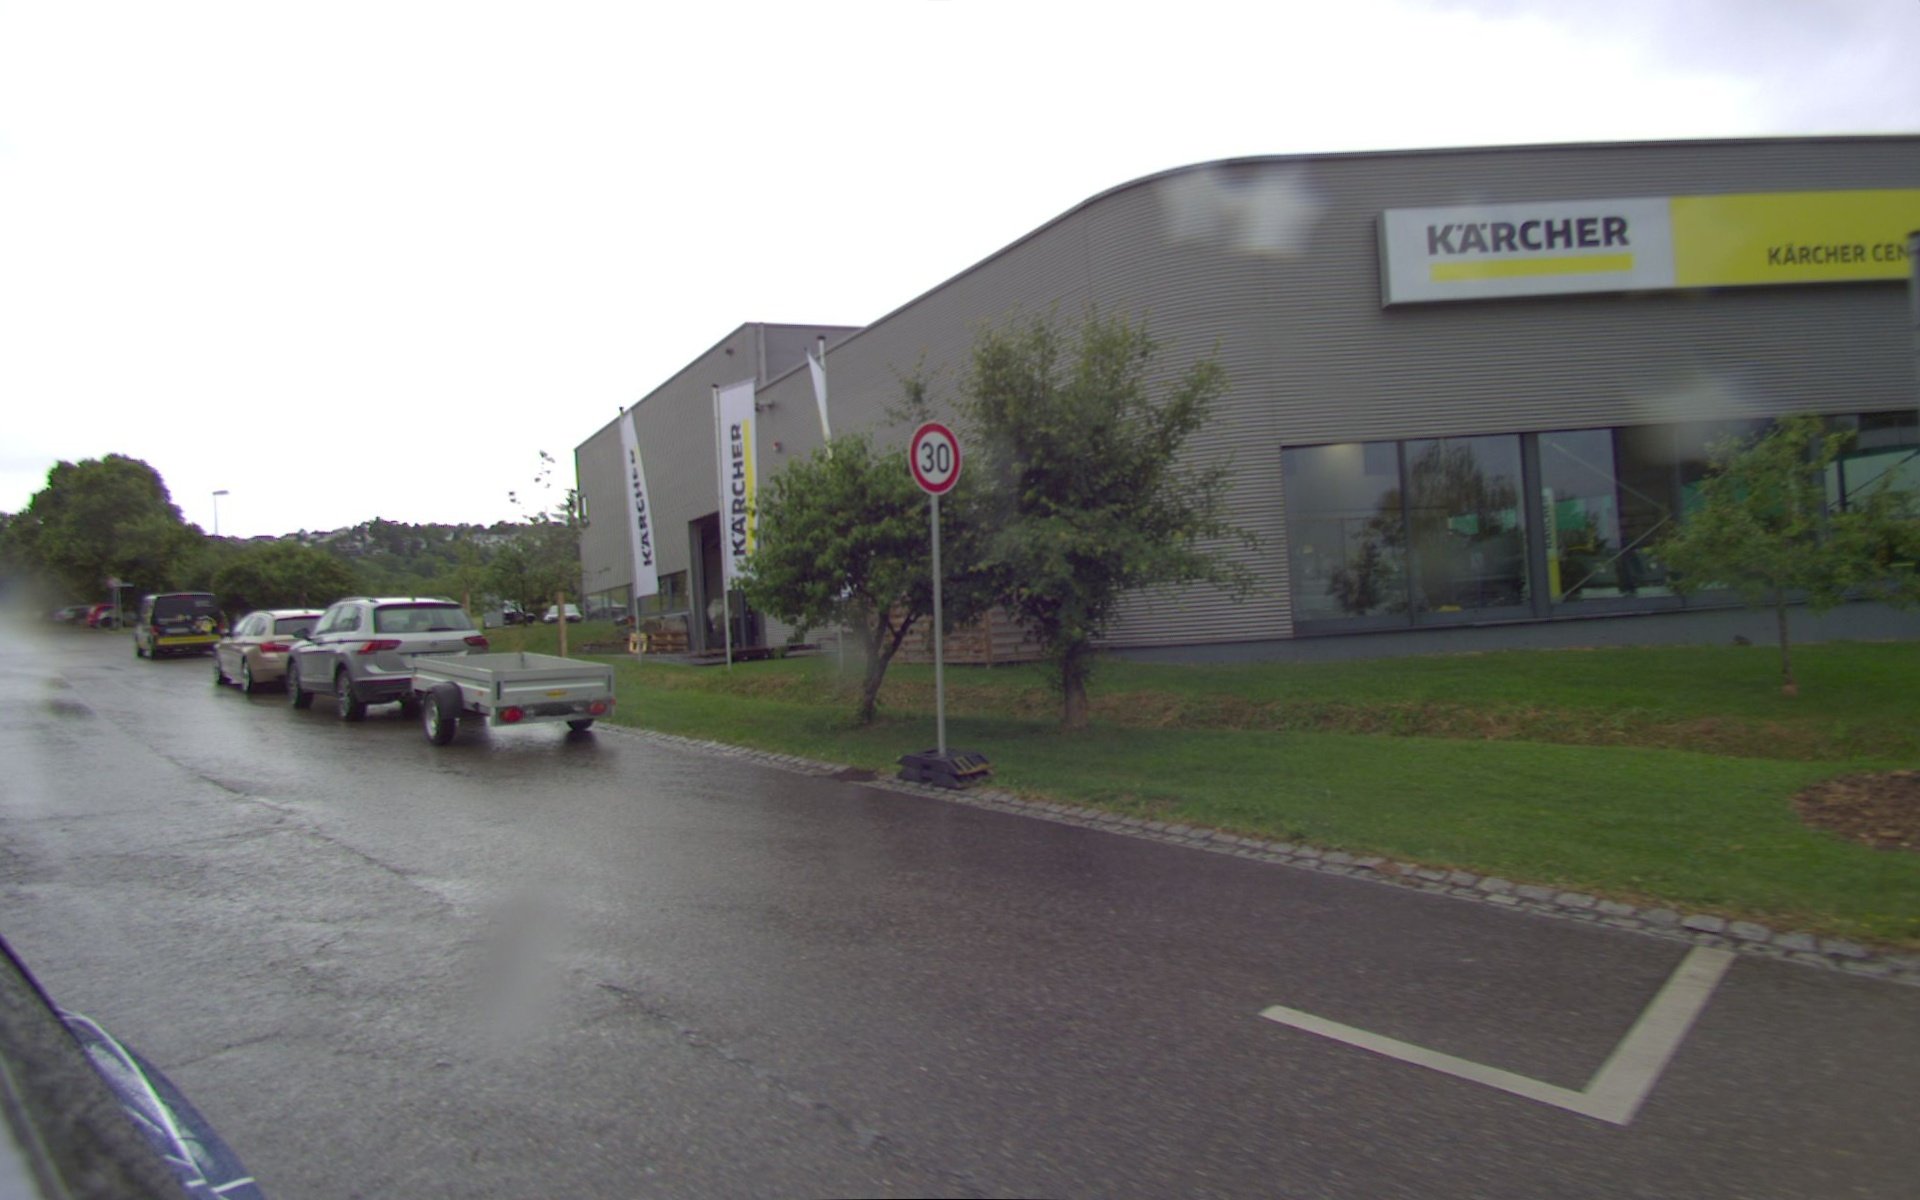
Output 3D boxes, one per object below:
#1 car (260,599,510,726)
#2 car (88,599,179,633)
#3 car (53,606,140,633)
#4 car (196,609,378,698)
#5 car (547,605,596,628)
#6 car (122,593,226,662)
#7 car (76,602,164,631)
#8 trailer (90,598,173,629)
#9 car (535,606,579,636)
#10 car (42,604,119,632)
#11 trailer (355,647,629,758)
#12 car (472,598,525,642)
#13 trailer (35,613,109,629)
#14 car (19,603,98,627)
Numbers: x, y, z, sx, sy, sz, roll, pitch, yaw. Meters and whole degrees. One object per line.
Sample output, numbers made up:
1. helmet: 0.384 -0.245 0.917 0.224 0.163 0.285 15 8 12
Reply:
1. car: -8.747 0.797 15.178 4.841 1.588 1.936 0 0 43
2. car: -51.149 0.942 62.694 4.249 1.920 1.864 -2 1 -43
3. car: -62.431 1.371 73.242 1.806 1.601 4.569 0 3 42
4. car: -13.221 0.943 19.728 5.250 1.472 1.934 -1 1 45
5. car: -38.966 1.666 101.523 4.425 2.237 1.936 0 -1 -26
6. car: -23.496 0.775 30.178 1.893 1.845 4.851 -2 1 -44
7. car: -54.940 1.066 66.244 1.753 1.734 4.155 0 1 39
8. trailer: -56.387 0.882 68.919 1.774 1.999 4.168 0 1 42
9. car: -20.311 1.051 51.051 1.965 1.407 4.706 -1 0 -22
10. car: -64.947 1.289 74.782 2.026 1.734 4.030 0 3 43
11. trailer: -5.673 1.111 12.050 3.898 0.895 1.661 0 1 44
12. car: -23.188 1.057 51.033 2.099 1.936 5.627 -3 -1 -22
13. trailer: -67.035 1.545 76.421 1.998 0.968 3.902 -2 1 40
14. car: -71.009 1.121 79.769 2.042 1.734 4.326 0 1 38
